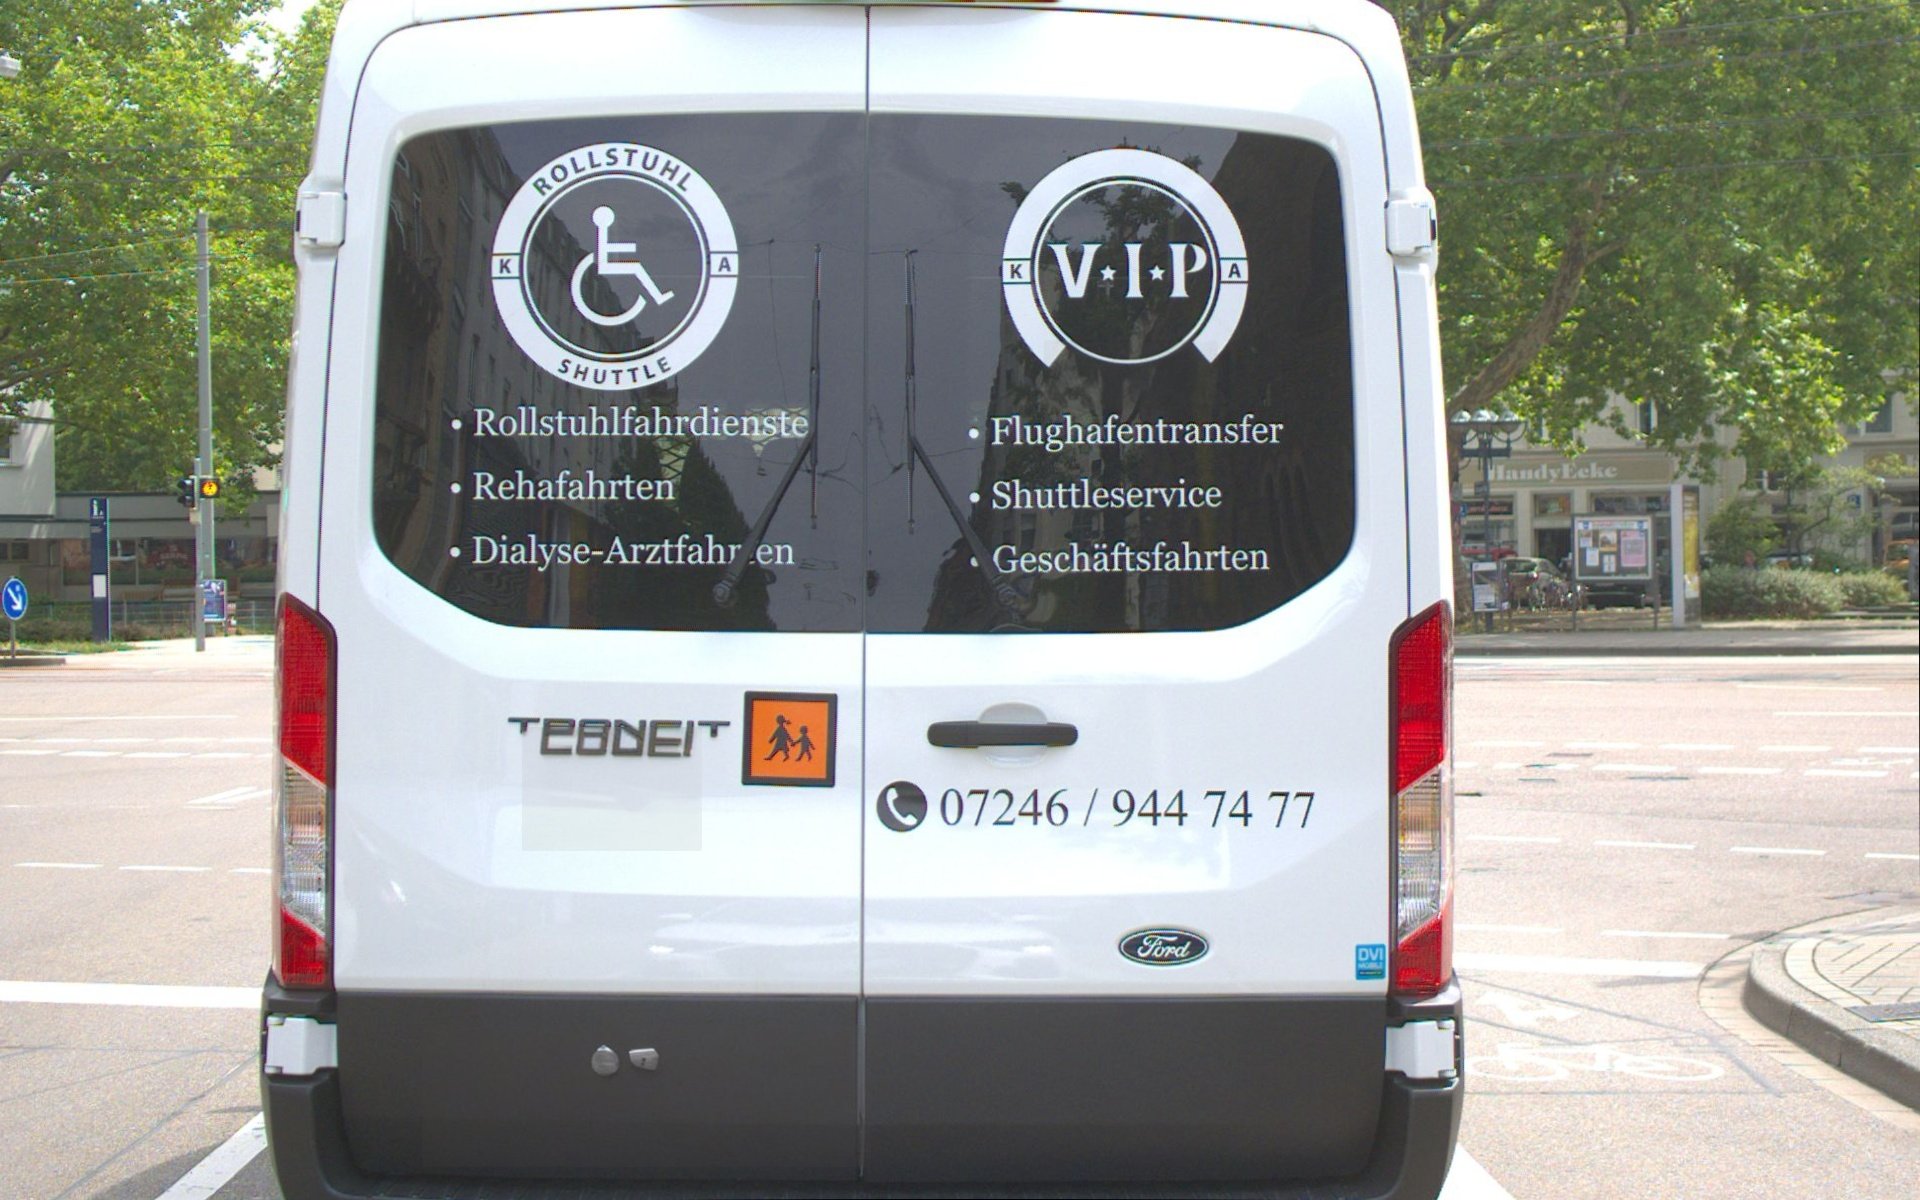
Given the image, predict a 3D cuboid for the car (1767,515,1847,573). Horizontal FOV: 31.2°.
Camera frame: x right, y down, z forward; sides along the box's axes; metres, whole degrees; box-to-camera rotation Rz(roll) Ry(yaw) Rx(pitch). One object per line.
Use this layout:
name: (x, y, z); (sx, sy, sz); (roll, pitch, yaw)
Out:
car: (25.285, -1.684, 102.579); (1.806, 1.678, 3.996); (0, 1, 21)

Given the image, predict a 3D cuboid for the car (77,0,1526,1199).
car: (-0.303, 0.046, 7.513); (2.181, 2.639, 4.629); (0, 1, -2)

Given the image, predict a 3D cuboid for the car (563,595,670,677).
car: (-6.806, 0.692, 68.462); (1.592, 1.502, 3.807); (-1, 1, 2)

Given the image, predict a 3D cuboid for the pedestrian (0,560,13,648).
pedestrian: (-16.784, 0.068, 58.876); (0.722, 1.509, 0.932); (-2, 1, -44)

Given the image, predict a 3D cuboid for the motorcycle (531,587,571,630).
motorcycle: (-9.843, 0.203, 82.877); (0.683, 0.968, 2.324); (-1, 1, 0)

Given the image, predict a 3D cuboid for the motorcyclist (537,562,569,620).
motorcyclist: (-9.859, -0.221, 83.355); (0.683, 1.390, 0.682); (-1, 1, 0)

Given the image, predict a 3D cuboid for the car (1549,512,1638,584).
car: (17.418, -1.449, 94.654); (1.994, 1.924, 4.000); (-1, 1, 4)
